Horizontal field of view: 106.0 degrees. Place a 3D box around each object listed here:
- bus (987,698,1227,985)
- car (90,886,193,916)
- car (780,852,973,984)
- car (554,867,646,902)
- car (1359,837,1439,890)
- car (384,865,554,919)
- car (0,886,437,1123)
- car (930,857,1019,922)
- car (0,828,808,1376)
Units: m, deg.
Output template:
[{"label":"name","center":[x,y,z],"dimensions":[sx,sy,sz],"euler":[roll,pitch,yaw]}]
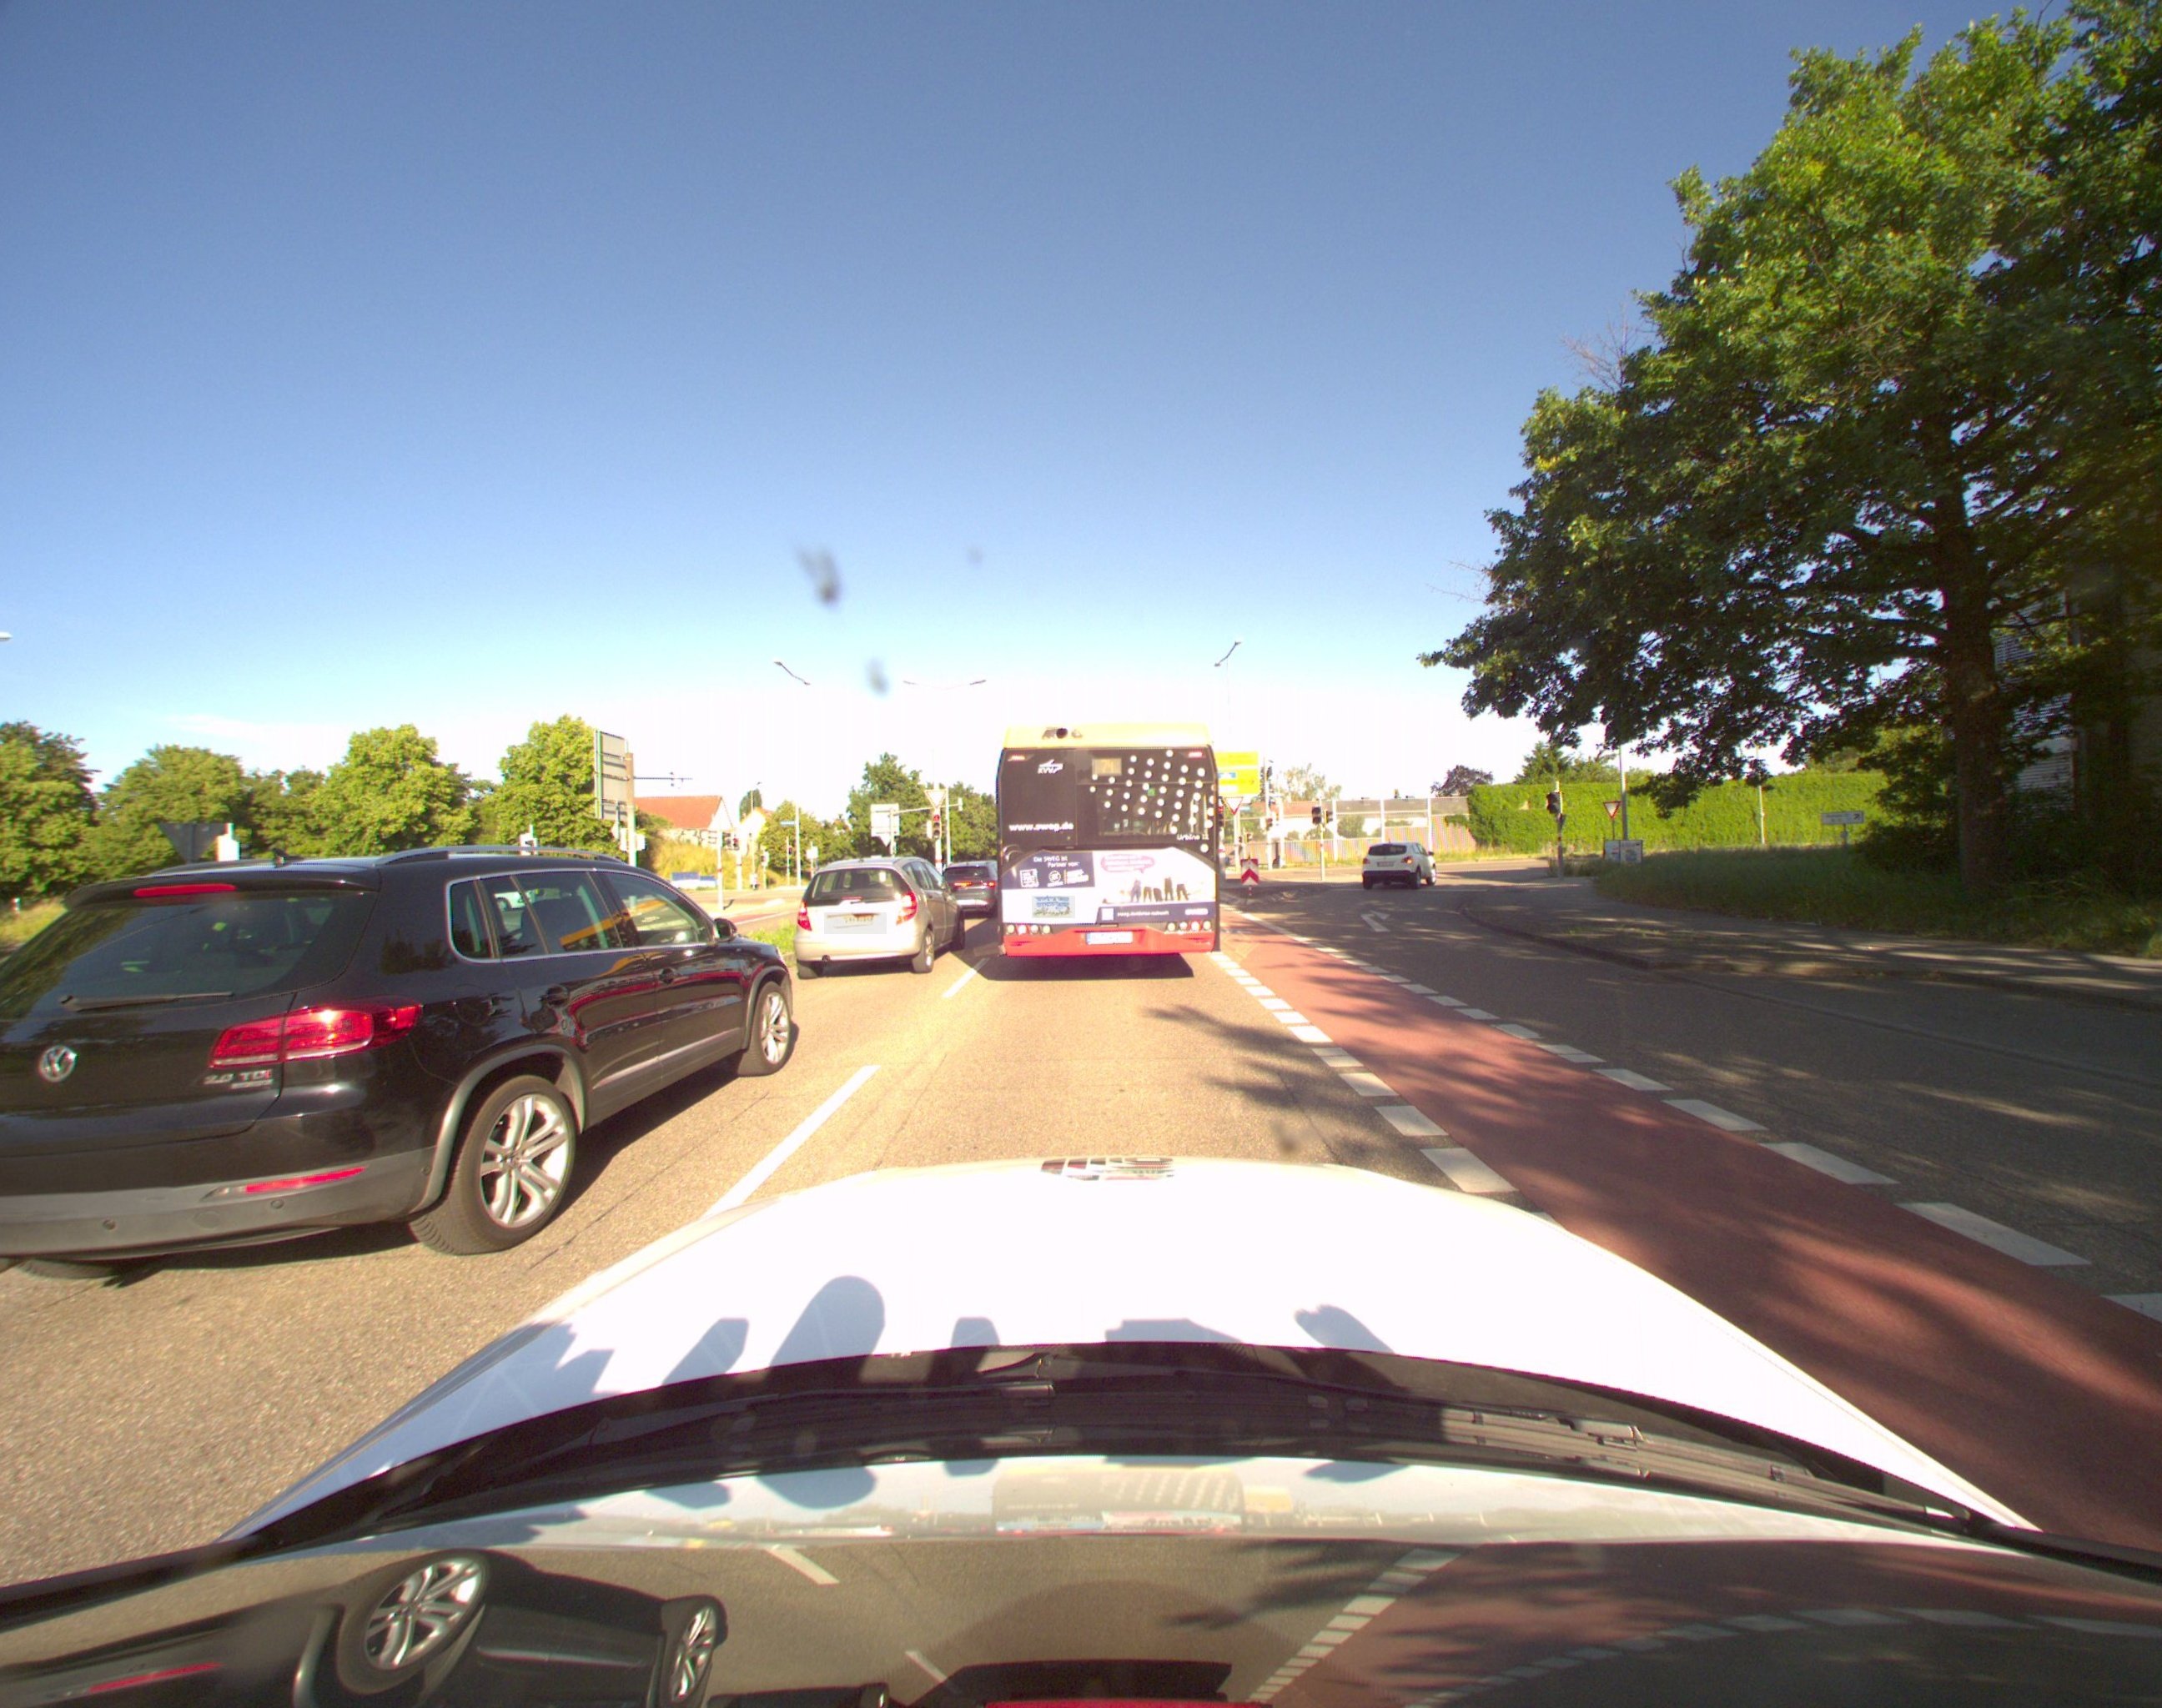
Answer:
[{"label":"bus","center":[0.528,-0.165,15.016],"dimensions":[2.632,3.167,11.867],"euler":[-1,0,2]},{"label":"car","center":[-54.785,2.741,47.549],"dimensions":[3.800,1.612,1.704],"euler":[0,-1,-5]},{"label":"car","center":[-2.870,0.813,12.378],"dimensions":[1.755,1.589,4.001],"euler":[-3,0,1]},{"label":"car","center":[-24.568,1.544,41.668],"dimensions":[3.577,1.560,1.747],"euler":[-2,0,-5]},{"label":"car","center":[11.014,0.286,28.018],"dimensions":[1.700,1.607,4.094],"euler":[-2,1,33]},{"label":"car","center":[-25.826,1.571,34.549],"dimensions":[5.375,2.118,2.178],"euler":[-1,-1,-4]},{"label":"car","center":[-8.447,1.175,7.645],"dimensions":[1.760,1.526,4.072],"euler":[-3,0,-6]},{"label":"car","center":[-2.684,0.857,21.312],"dimensions":[1.686,1.458,3.751],"euler":[-3,0,1]},{"label":"car","center":[-3.165,0.798,4.552],"dimensions":[1.766,1.653,4.001],"euler":[-3,0,1]}]
